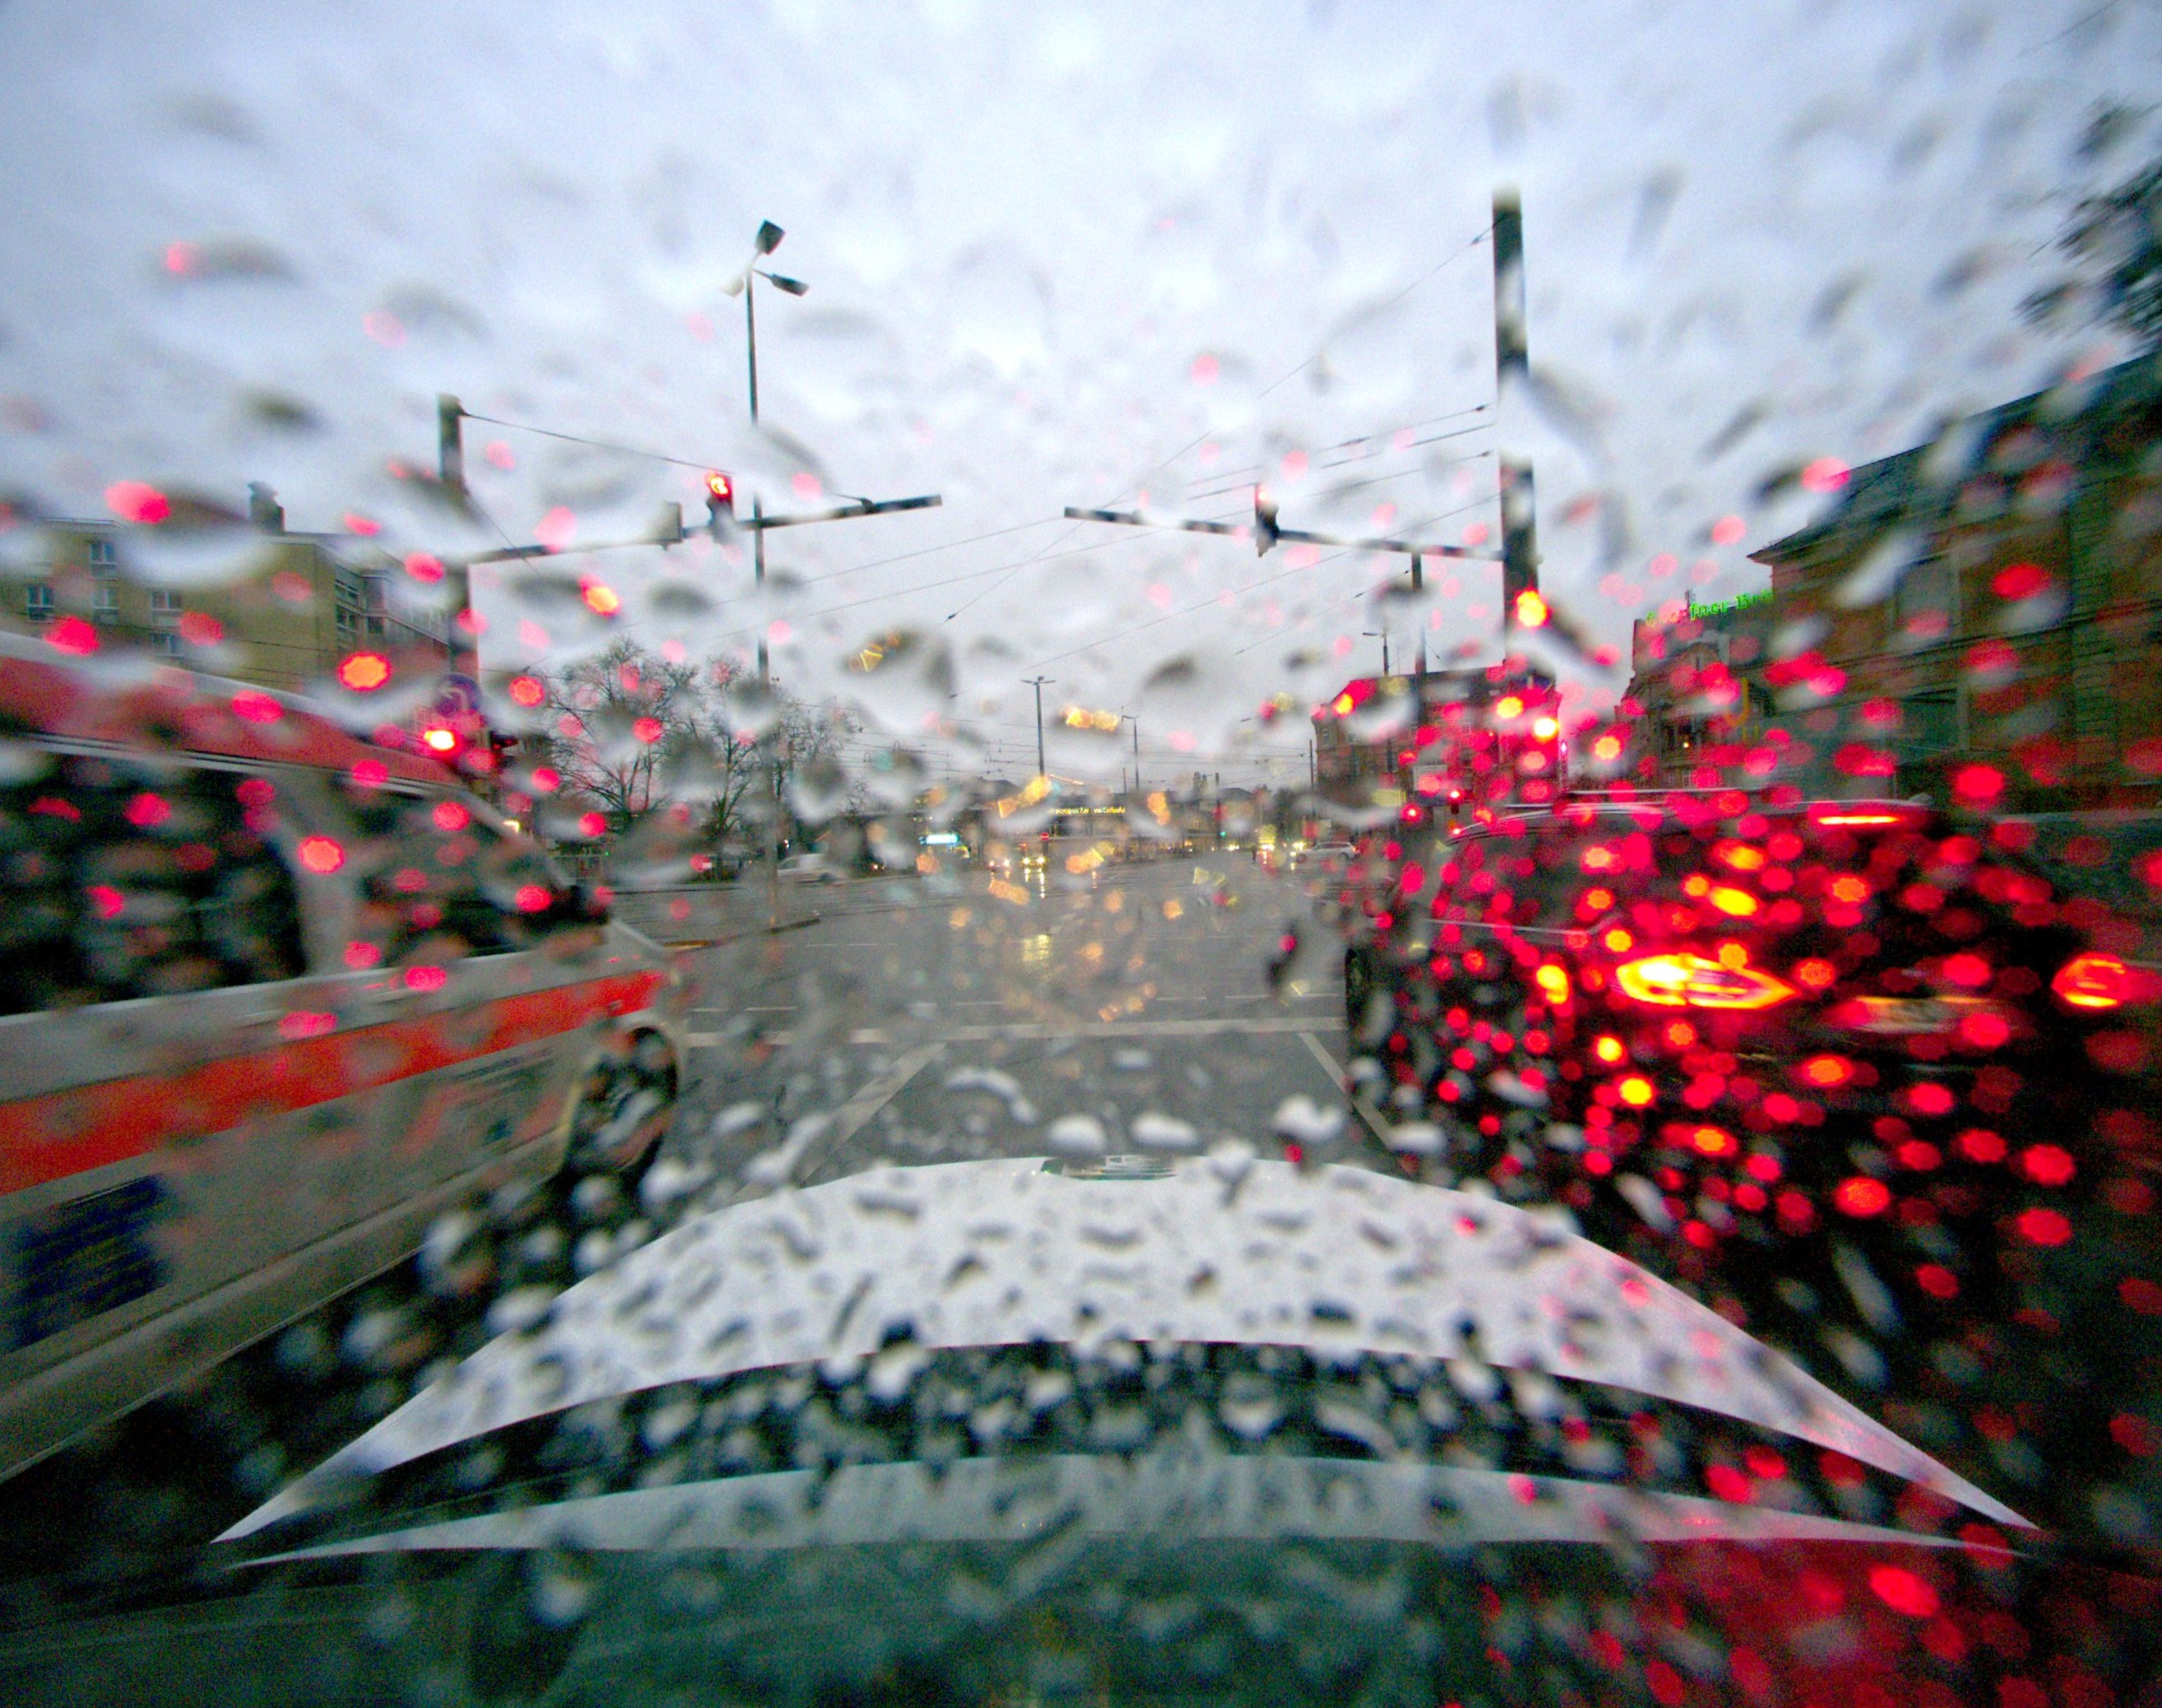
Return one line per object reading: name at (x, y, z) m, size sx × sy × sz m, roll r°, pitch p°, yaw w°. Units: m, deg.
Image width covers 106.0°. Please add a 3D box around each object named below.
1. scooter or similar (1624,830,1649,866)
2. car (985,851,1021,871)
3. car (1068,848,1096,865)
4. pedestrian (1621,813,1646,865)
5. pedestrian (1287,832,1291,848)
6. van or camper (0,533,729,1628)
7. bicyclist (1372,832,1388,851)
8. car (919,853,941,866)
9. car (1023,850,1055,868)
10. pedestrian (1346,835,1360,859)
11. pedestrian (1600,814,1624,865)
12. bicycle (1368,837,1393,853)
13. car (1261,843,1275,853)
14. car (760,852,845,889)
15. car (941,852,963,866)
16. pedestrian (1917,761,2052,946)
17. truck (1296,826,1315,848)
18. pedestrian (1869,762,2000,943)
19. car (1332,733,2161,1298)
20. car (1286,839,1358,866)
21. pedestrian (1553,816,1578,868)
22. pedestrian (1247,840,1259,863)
scooter or similar at (20.792, -0.234, 30.501) m, size 0.669 × 1.317 × 0.832 m, roll -3°, pitch 0°, yaw 29°
car at (-6.311, 0.549, 66.350) m, size 1.801 × 1.446 × 4.013 m, roll -3°, pitch 0°, yaw 11°
car at (0.122, 0.228, 75.525) m, size 1.801 × 1.446 × 4.013 m, roll -3°, pitch 0°, yaw 11°
pedestrian at (21.146, -0.558, 31.166) m, size 0.669 × 1.950 × 0.666 m, roll -3°, pitch 0°, yaw 29°
pedestrian at (26.082, -1.745, 102.183) m, size 0.341 × 2.013 × 0.420 m, roll -3°, pitch 0°, yaw 17°
van or camper at (-3.162, 0.446, 1.954) m, size 2.192 × 2.109 × 4.992 m, roll -1°, pitch 0°, yaw 3°
bicyclist at (28.802, -1.205, 78.458) m, size 1.058 × 1.768 × 1.057 m, roll -3°, pitch 0°, yaw 42°
car at (-19.342, 0.709, 104.470) m, size 1.854 × 1.601 × 4.004 m, roll -3°, pitch 0°, yaw 4°
car at (-3.723, 0.432, 72.955) m, size 1.801 × 1.446 × 4.013 m, roll -3°, pitch 0°, yaw 11°
pedestrian at (23.066, -0.577, 69.081) m, size 0.732 × 2.013 × 0.782 m, roll -2°, pitch 0°, yaw -27°
pedestrian at (20.531, -0.555, 31.513) m, size 0.669 × 1.950 × 0.666 m, roll -3°, pitch 0°, yaw 30°
bicycle at (28.826, -0.859, 78.391) m, size 2.179 × 1.376 × 0.702 m, roll -3°, pitch 0°, yaw 40°
car at (32.693, -1.020, 142.191) m, size 1.847 × 1.601 × 3.806 m, roll -3°, pitch 0°, yaw 20°
car at (-15.659, 0.931, 46.031) m, size 4.412 × 2.014 × 1.900 m, roll 0°, pitch -3°, yaw -17°
car at (-16.459, 0.622, 104.158) m, size 1.854 × 1.601 × 4.004 m, roll -3°, pitch 0°, yaw 4°
pedestrian at (10.314, -0.020, 9.336) m, size 0.800 × 2.013 × 0.765 m, roll -1°, pitch 3°, yaw 26°
truck at (30.023, -2.259, 108.865) m, size 1.977 × 2.691 × 5.141 m, roll -3°, pitch 0°, yaw 19°
pedestrian at (9.599, -0.032, 9.201) m, size 0.800 × 1.929 × 0.765 m, roll -1°, pitch 3°, yaw 26°
car at (2.928, 0.505, 4.838) m, size 1.770 × 1.800 × 4.430 m, roll -1°, pitch 1°, yaw 4°
car at (17.023, -0.089, 57.707) m, size 4.765 × 1.657 × 1.746 m, roll -2°, pitch 0°, yaw 12°
pedestrian at (18.795, -0.462, 31.572) m, size 0.669 × 1.950 × 0.681 m, roll -3°, pitch 0°, yaw 38°
pedestrian at (14.053, -0.210, 66.598) m, size 0.595 × 1.840 × 0.612 m, roll -3°, pitch 0°, yaw -32°
